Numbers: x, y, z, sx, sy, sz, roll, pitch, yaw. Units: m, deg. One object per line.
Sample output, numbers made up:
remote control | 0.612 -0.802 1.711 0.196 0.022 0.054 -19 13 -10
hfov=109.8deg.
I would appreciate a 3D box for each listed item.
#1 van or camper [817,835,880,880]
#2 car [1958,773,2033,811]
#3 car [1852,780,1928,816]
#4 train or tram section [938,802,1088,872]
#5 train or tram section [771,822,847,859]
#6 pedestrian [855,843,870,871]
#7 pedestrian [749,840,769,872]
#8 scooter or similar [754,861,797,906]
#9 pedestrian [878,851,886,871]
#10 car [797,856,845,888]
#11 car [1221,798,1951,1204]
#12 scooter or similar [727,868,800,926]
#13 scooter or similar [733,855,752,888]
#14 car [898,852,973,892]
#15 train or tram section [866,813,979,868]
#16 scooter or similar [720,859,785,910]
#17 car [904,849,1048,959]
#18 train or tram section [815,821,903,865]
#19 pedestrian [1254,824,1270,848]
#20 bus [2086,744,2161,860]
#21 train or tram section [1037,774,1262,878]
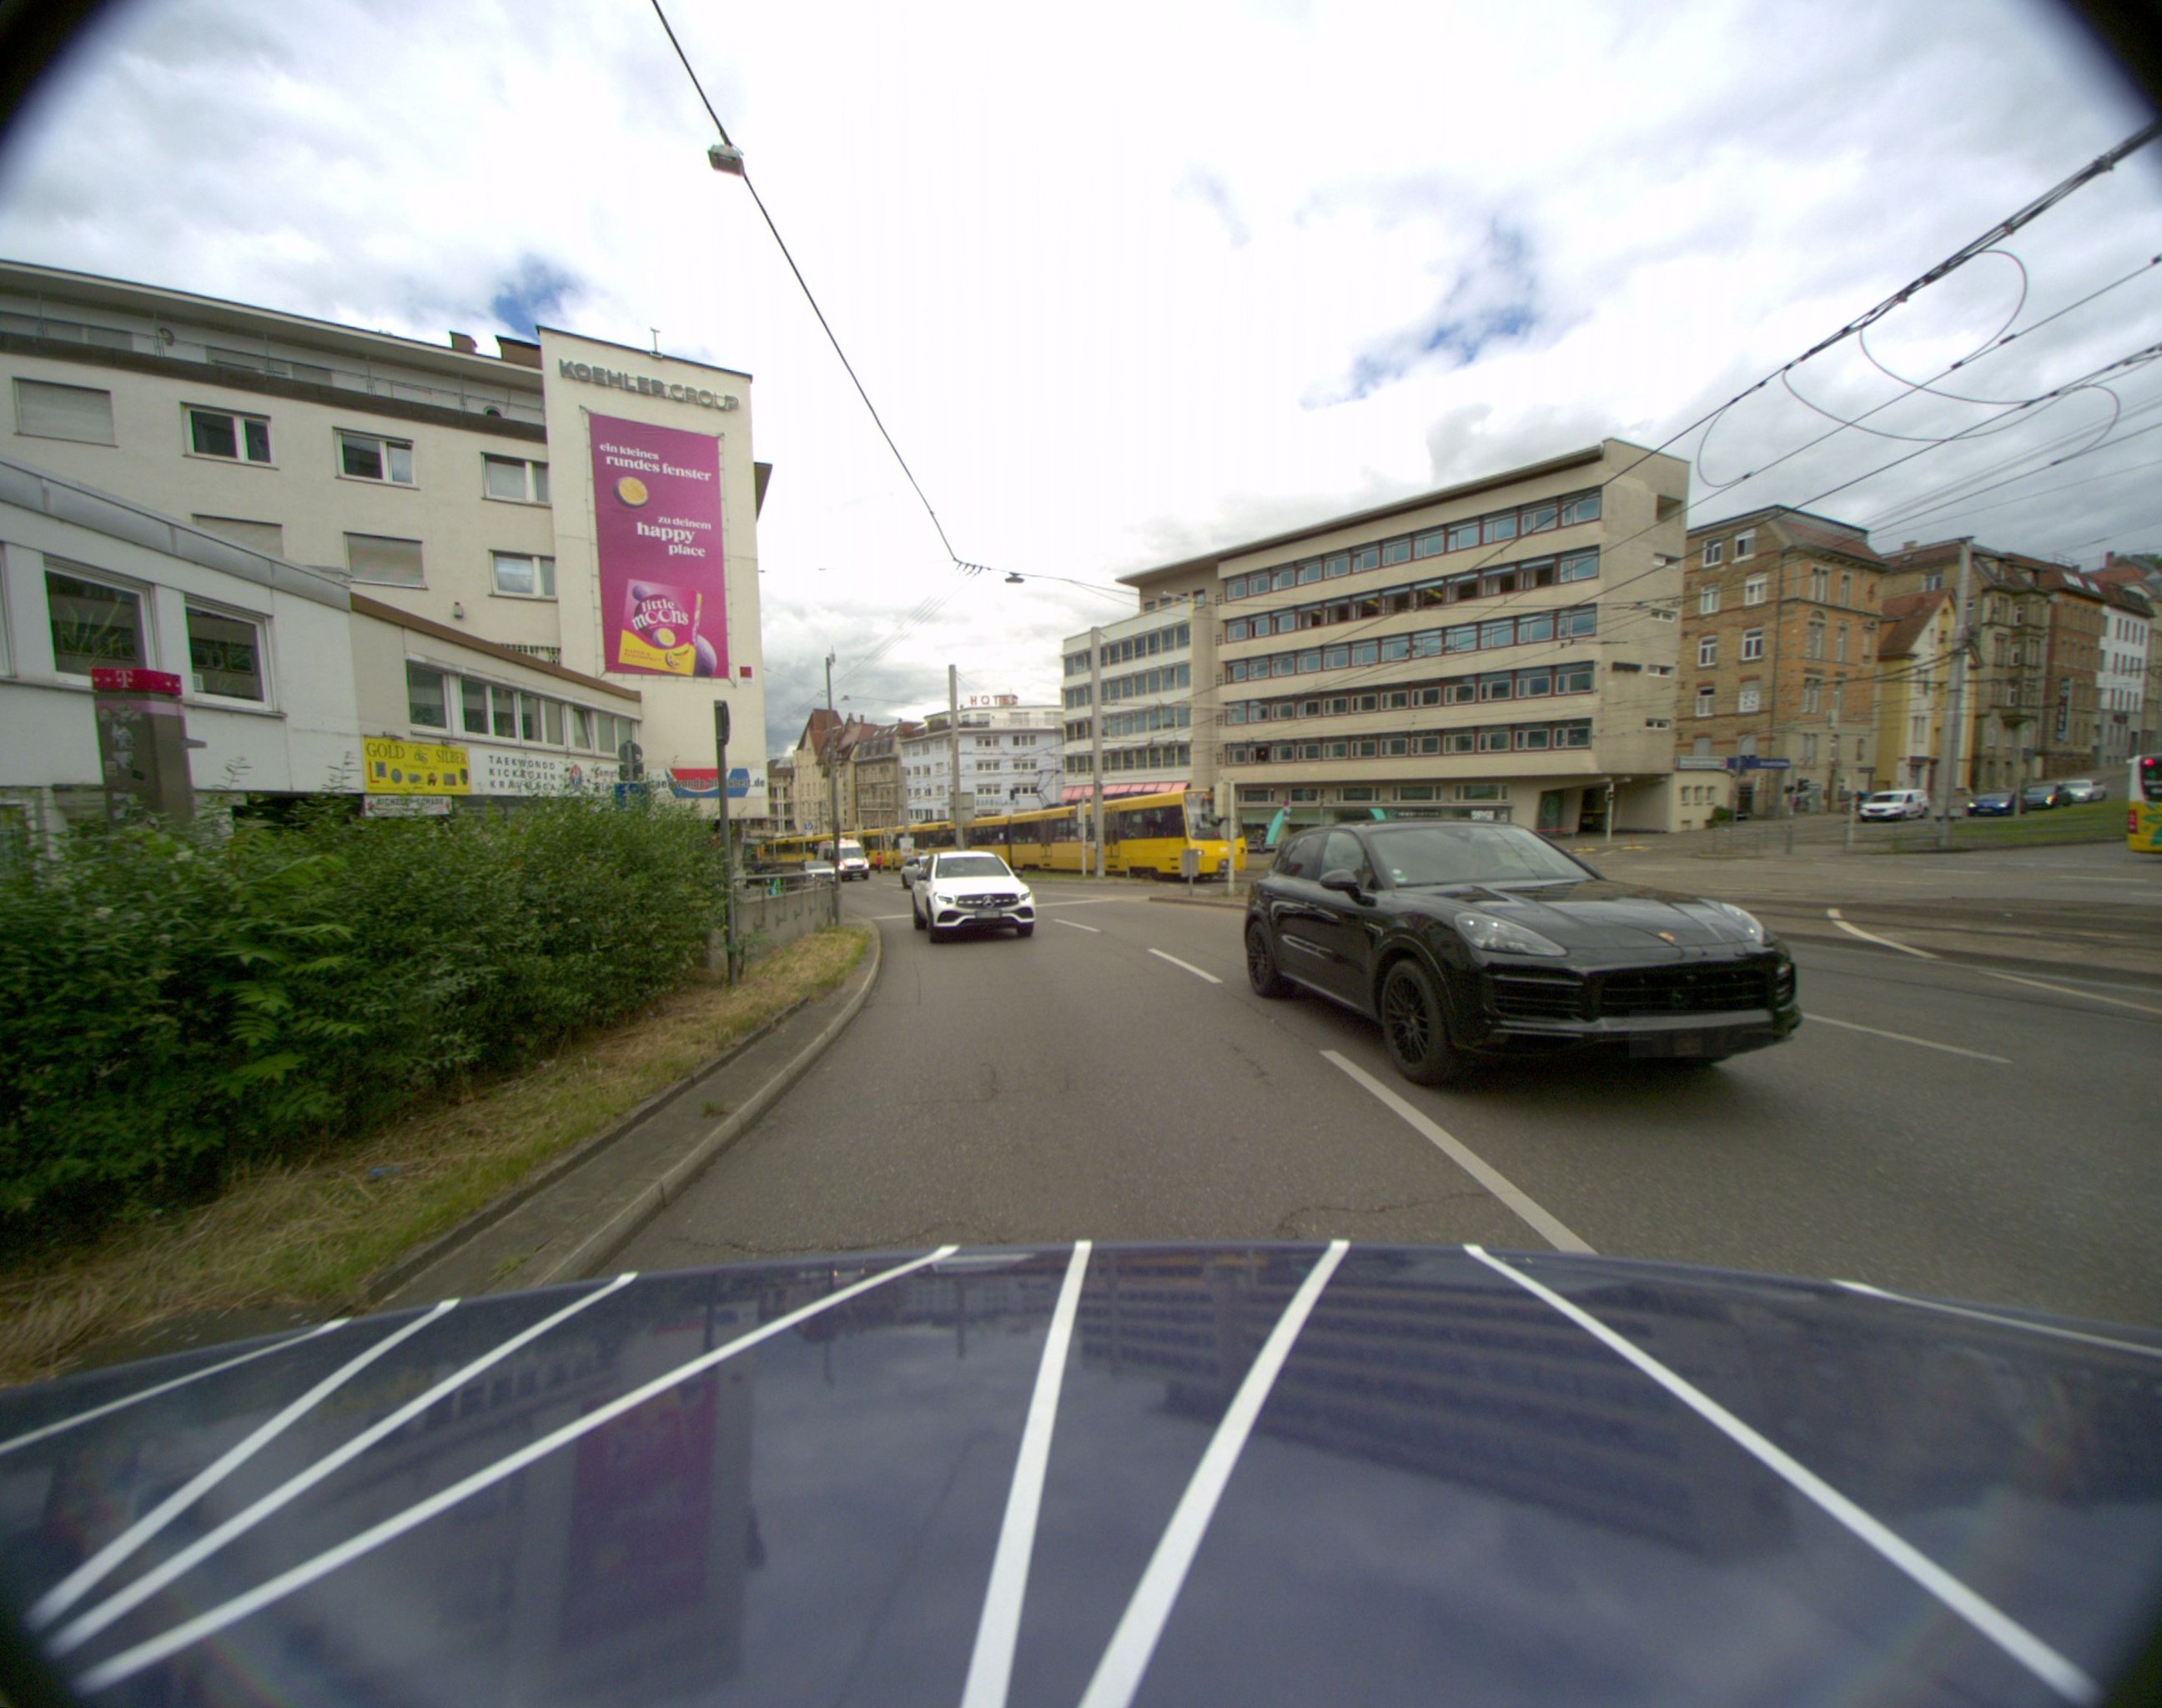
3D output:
van or camper | -14.954 0.192 48.536 2.213 2.544 6.357 -6 3 -30
car | 55.428 -3.770 46.060 4.004 2.002 1.996 -5 2 -26
car | 49.669 -3.425 46.650 4.004 2.002 1.996 -3 0 -25
train or tram section | -4.714 -0.996 46.973 2.895 3.643 14.193 -4 2 -32
train or tram section | -29.428 -1.287 81.563 2.895 3.423 14.191 -7 4 -39
pedestrian | -16.429 0.218 57.174 0.969 2.056 1.030 -2 5 -15
pedestrian | -22.120 0.147 52.154 0.952 2.049 0.776 8 -3 -30
scooter or similar | -8.562 0.825 21.313 0.375 1.175 1.012 -1 2 32
pedestrian | -14.697 0.506 56.144 0.578 1.456 0.674 -1 5 -15
car | -14.556 0.950 42.357 1.672 1.522 3.990 -7 3 -29
car | 2.771 0.564 5.783 2.033 1.676 4.777 -4 2 -6
scooter or similar | -7.684 1.014 18.429 0.581 1.176 1.447 -1 6 32
scooter or similar | -15.853 0.799 35.540 0.671 1.467 1.176 -4 2 -27
car | -6.482 0.739 33.481 1.900 1.467 4.520 -5 3 -28
train or tram section | -12.623 -0.958 58.777 2.895 3.644 14.192 -5 3 -35
scooter or similar | -8.520 0.774 19.757 0.555 1.247 1.448 -1 1 32
car | -2.250 0.808 14.980 1.937 1.623 4.765 -4 2 -18
train or tram section | -20.853 -1.033 70.325 2.936 3.540 14.190 -6 4 -36
pedestrian | 12.964 -1.271 54.518 0.762 1.698 0.782 -5 3 -42
bus | 33.650 -1.624 21.617 11.560 3.012 3.383 -3 1 -23
train or tram section | 2.182 -1.097 33.801 2.894 3.643 14.443 -2 2 -26
